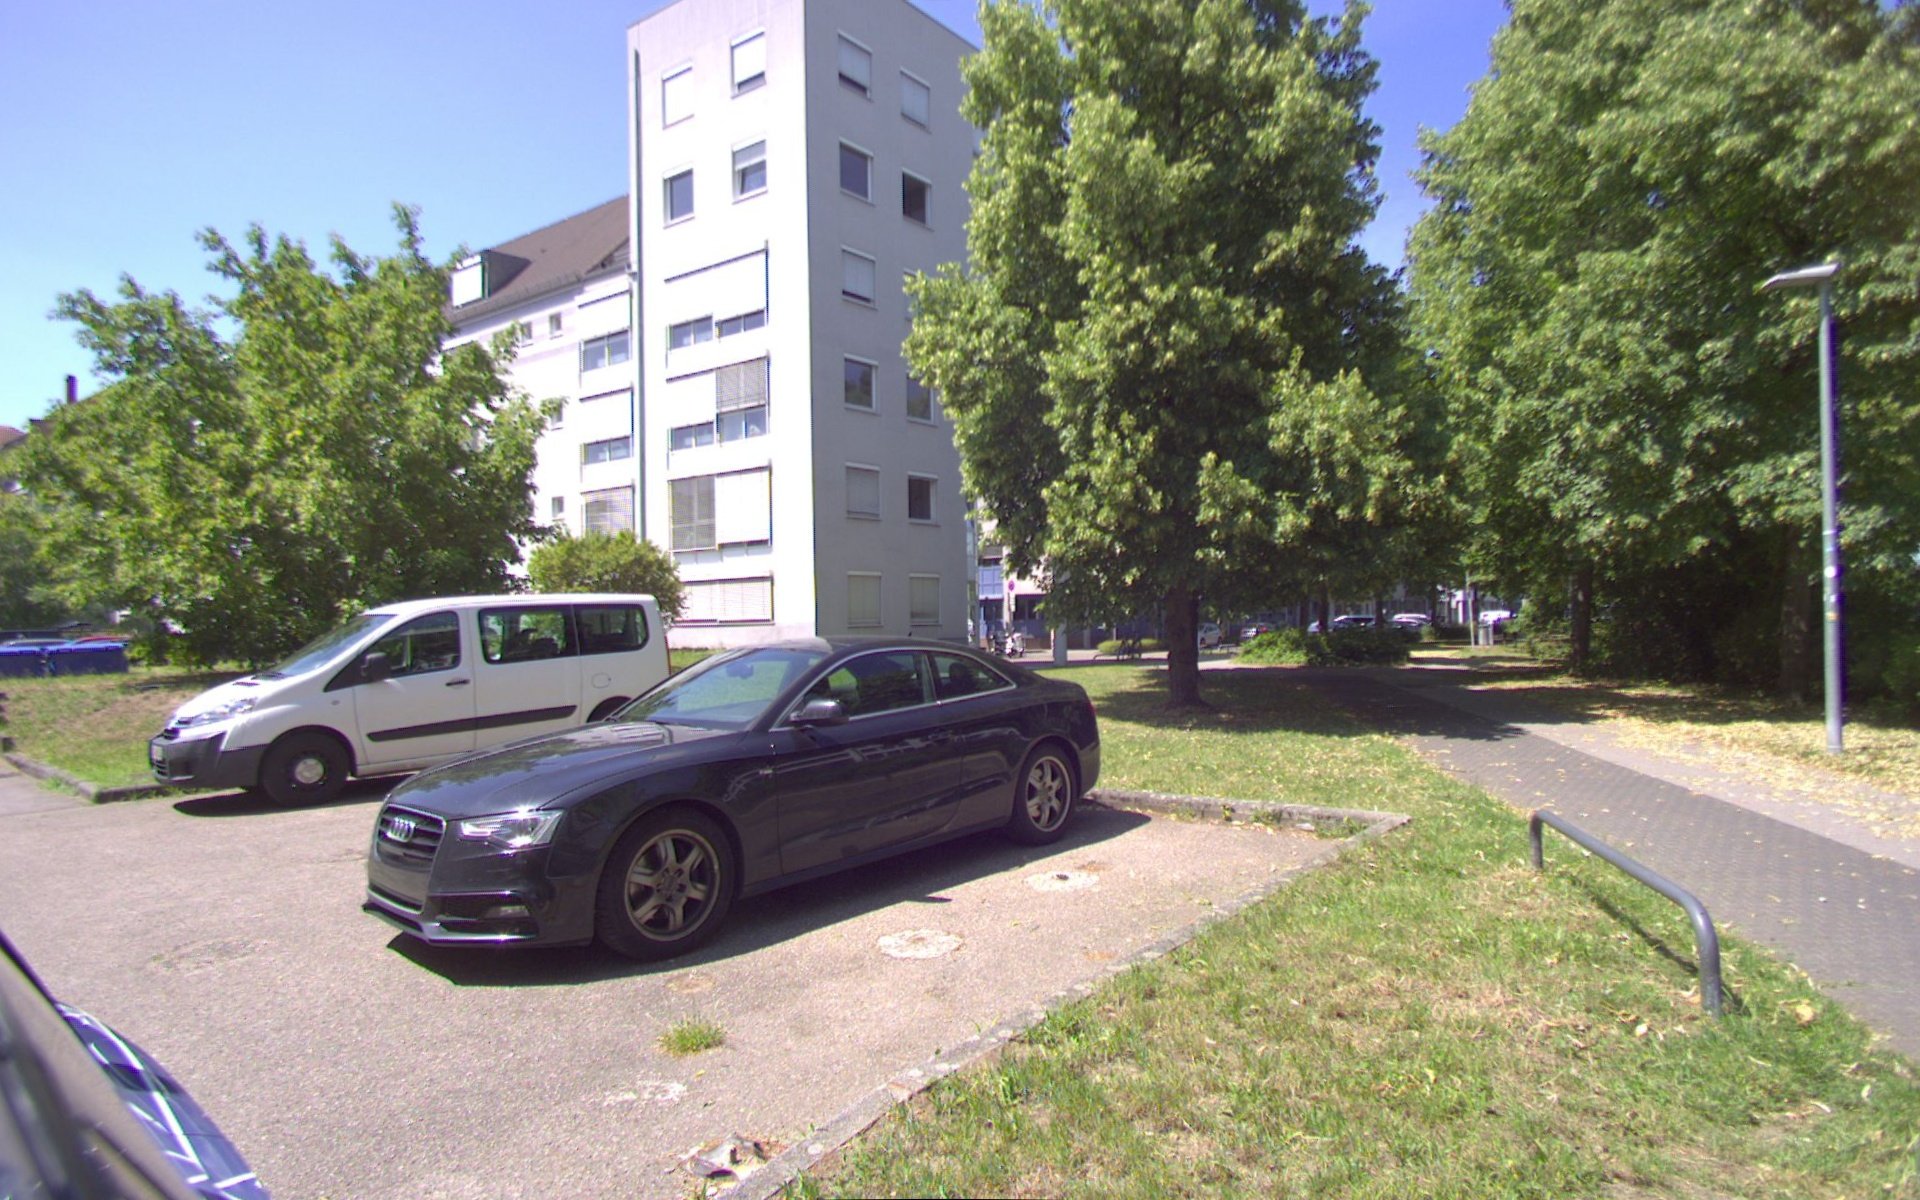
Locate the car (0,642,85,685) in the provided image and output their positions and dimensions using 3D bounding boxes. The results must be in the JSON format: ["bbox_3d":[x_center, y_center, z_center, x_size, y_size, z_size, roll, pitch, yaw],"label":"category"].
[{"bbox_3d":[-37.150,2.493,39.589,1.609,1.581,4.175,-2,-1,35],"label":"car"}]

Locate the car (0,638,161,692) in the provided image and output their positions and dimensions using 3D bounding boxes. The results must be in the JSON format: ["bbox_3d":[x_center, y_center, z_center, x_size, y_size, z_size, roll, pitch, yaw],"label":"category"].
[{"bbox_3d":[-29.450,2.111,33.738,1.609,1.581,4.175,-2,-1,35],"label":"car"}]

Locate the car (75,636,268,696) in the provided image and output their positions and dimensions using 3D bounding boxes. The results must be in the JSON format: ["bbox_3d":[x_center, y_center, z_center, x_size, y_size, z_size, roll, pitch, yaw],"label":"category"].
[{"bbox_3d":[-23.977,1.955,30.923,1.609,1.581,4.394,-2,-1,35],"label":"car"}]

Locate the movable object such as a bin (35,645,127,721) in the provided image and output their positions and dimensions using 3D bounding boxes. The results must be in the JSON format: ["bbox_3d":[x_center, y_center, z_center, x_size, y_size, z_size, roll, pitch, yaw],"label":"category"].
[{"bbox_3d":[-17.629,1.634,20.309,1.095,1.399,1.255,-2,-1,40],"label":"movable object such as a bin"}]

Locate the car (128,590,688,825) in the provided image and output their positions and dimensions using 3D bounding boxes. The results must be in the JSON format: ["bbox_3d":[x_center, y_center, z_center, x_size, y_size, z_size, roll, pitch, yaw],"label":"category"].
[{"bbox_3d":[-5.533,0.898,10.681,2.067,1.898,4.795,-2,-1,42],"label":"car"}]

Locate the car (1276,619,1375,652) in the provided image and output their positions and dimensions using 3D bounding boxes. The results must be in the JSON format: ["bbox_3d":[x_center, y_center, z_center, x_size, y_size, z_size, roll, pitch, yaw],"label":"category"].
[{"bbox_3d":[18.550,1.785,51.486,4.336,1.622,1.909,-2,-1,39],"label":"car"}]

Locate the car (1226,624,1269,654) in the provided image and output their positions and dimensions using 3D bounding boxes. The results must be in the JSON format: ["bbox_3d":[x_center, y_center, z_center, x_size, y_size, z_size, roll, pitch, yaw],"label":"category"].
[{"bbox_3d":[16.855,2.262,59.162,1.798,1.615,3.861,-1,-1,25],"label":"car"}]

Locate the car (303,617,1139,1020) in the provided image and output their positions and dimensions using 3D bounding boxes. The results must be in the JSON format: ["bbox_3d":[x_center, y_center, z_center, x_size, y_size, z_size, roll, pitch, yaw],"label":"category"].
[{"bbox_3d":[-1.030,0.867,5.937,2.023,1.391,4.381,-5,-3,42],"label":"car"}]

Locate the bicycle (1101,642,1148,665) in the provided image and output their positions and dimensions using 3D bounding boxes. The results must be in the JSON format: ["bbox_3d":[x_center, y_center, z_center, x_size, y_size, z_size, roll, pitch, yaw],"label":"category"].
[{"bbox_3d":[5.376,1.749,33.020,0.734,0.646,1.594,-5,-4,41],"label":"bicycle"}]

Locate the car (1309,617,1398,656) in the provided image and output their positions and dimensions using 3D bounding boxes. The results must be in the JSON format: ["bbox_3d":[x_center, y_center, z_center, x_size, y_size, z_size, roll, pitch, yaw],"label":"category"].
[{"bbox_3d":[21.068,1.945,54.236,3.995,2.029,1.974,-2,-1,39],"label":"car"}]

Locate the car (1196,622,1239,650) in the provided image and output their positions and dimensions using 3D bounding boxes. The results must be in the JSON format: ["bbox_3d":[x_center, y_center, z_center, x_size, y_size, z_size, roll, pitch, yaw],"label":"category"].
[{"bbox_3d":[15.555,2.152,61.109,1.798,1.615,3.861,-1,-1,25],"label":"car"}]

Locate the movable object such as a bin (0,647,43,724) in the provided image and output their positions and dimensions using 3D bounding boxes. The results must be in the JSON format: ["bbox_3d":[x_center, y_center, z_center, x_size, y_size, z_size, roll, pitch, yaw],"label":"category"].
[{"bbox_3d":[-18.435,1.628,19.310,1.095,1.399,1.255,-2,-1,40],"label":"movable object such as a bin"}]

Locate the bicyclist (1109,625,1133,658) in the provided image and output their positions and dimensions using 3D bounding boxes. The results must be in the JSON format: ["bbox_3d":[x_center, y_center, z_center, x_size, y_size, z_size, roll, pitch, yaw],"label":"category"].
[{"bbox_3d":[5.246,1.353,32.905,0.518,1.053,0.515,-6,-5,42],"label":"bicyclist"}]

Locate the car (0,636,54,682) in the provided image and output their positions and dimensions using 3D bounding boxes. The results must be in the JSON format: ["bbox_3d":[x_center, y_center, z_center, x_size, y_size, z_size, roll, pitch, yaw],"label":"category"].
[{"bbox_3d":[-39.773,2.425,41.032,2.005,1.837,4.175,-2,-1,35],"label":"car"}]

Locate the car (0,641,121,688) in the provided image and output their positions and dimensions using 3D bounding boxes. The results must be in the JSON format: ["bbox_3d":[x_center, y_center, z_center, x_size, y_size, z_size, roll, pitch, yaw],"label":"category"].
[{"bbox_3d":[-34.444,2.411,38.063,1.609,1.581,4.175,-2,-1,35],"label":"car"}]

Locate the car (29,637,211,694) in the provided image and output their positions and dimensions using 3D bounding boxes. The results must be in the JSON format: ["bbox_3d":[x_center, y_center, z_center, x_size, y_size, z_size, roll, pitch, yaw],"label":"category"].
[{"bbox_3d":[-26.528,2.009,32.087,1.609,1.581,4.175,-2,-1,35],"label":"car"}]
